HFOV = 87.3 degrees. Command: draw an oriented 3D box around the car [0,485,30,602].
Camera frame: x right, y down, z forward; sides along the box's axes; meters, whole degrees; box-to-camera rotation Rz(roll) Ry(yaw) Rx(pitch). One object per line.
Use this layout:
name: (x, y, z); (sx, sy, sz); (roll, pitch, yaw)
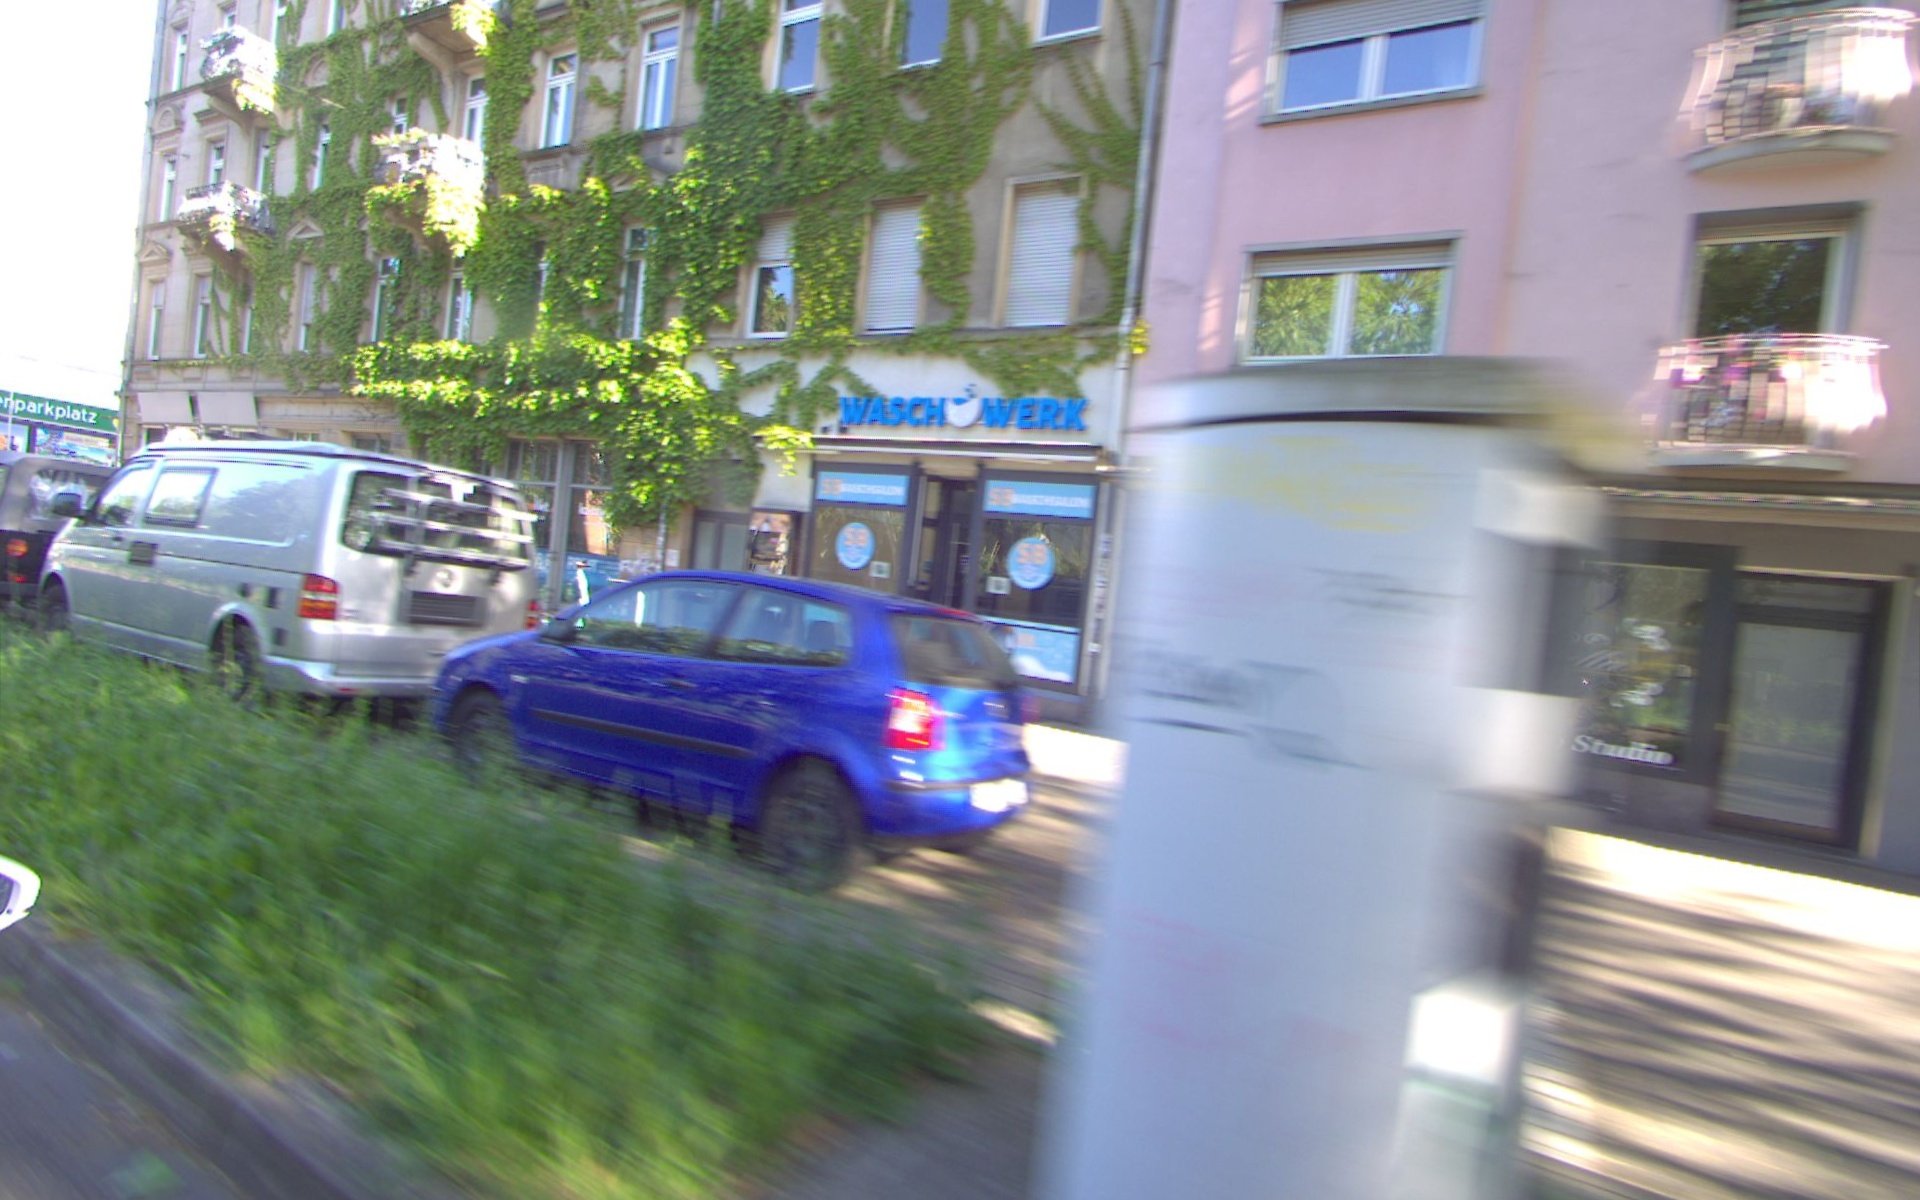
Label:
car: (-14.760, -1.027, 13.763); (3.932, 1.535, 1.743); (7, -2, 29)

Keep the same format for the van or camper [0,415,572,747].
van or camper: (-5.784, -0.296, 8.411); (5.008, 2.039, 1.886); (7, 1, 30)

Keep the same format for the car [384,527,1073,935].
car: (-1.452, 0.541, 5.931); (3.763, 1.498, 1.592); (7, 1, 30)

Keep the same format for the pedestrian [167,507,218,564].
pedestrian: (-19.044, -1.597, 24.964); (0.701, 1.277, 0.716); (7, 1, 31)

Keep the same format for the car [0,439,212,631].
car: (-10.457, -0.801, 11.312); (3.933, 1.786, 1.866); (7, 1, 32)
